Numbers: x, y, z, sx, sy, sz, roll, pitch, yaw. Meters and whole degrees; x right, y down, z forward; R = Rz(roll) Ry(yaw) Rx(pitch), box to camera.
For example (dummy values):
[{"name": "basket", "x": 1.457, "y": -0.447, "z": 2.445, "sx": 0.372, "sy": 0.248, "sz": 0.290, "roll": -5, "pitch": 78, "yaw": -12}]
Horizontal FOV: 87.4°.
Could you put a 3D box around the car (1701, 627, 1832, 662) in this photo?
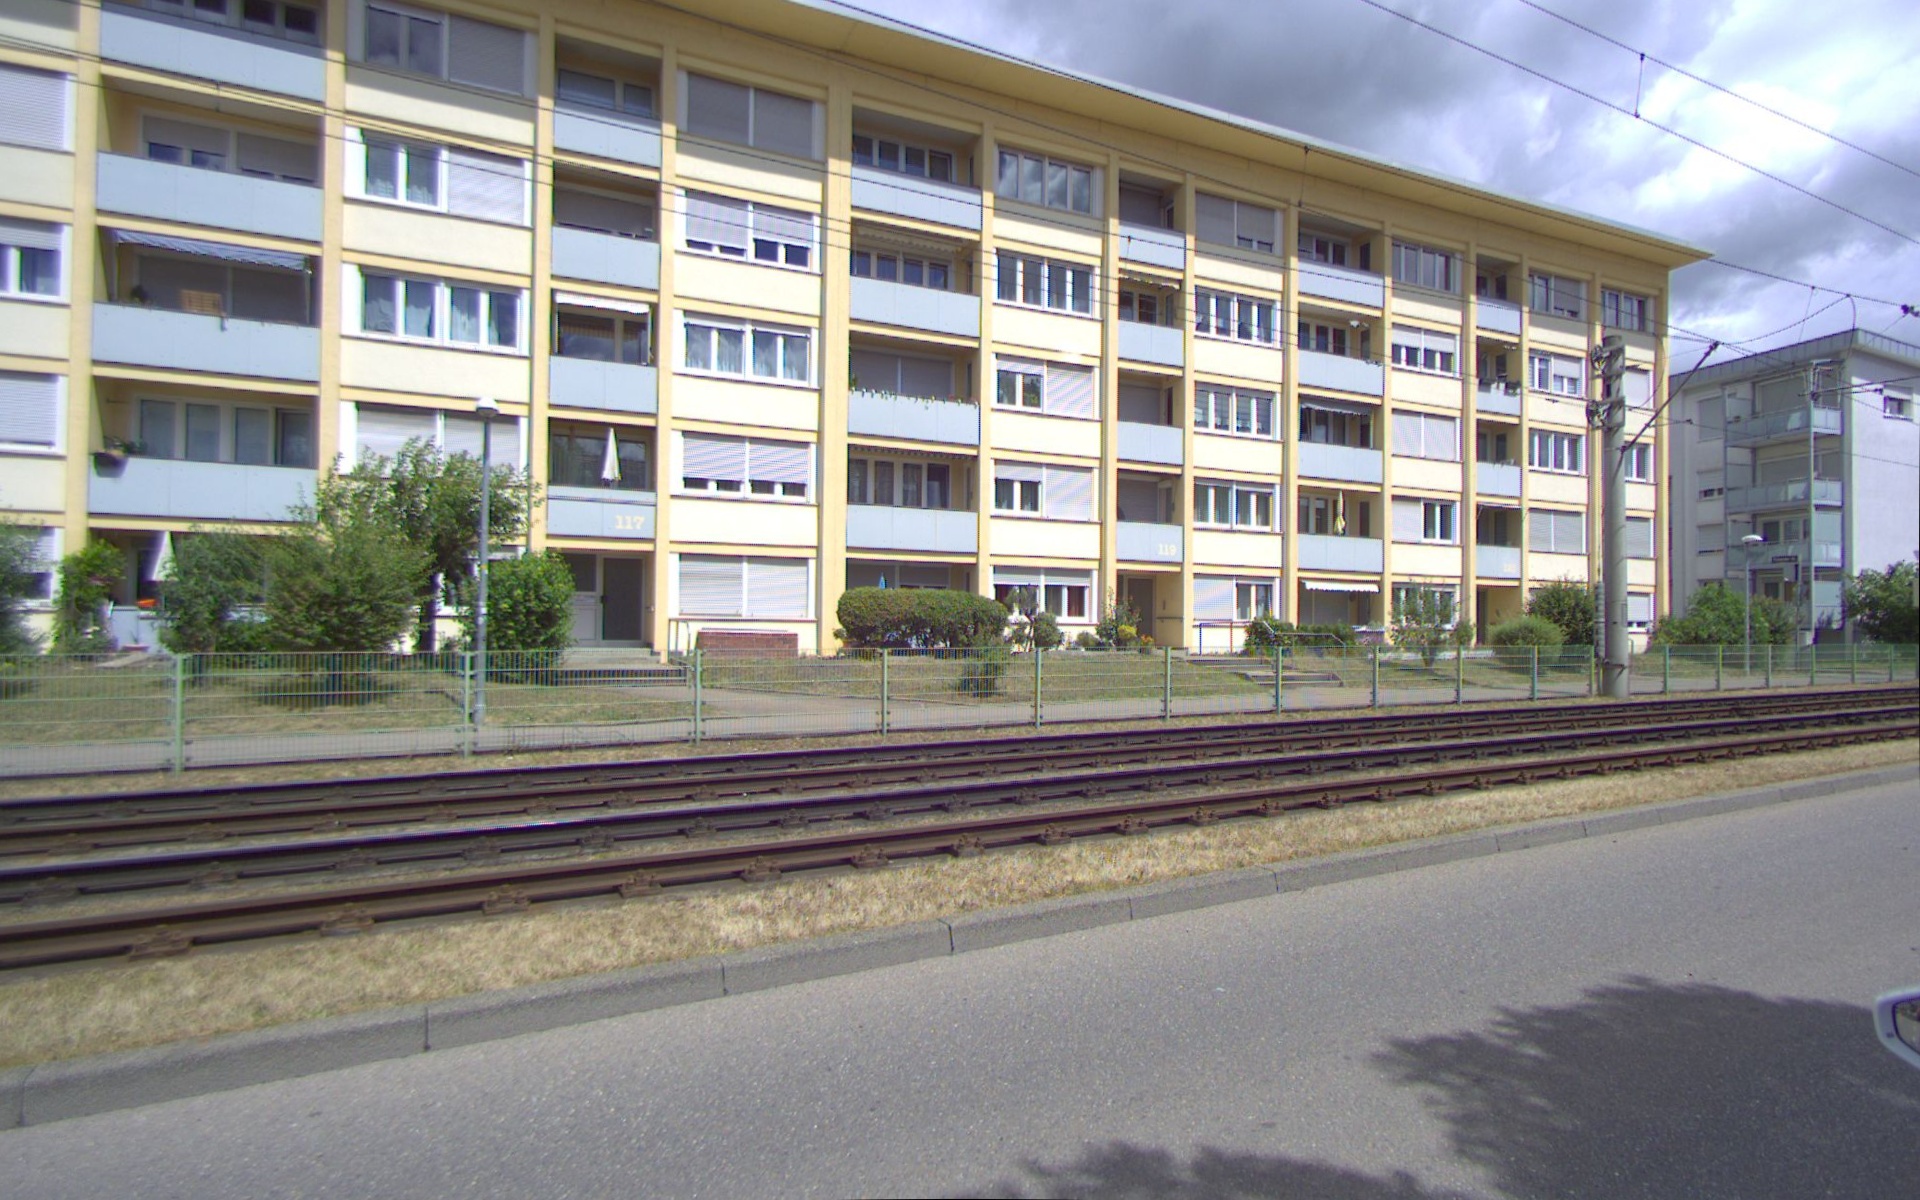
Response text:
[{"name": "car", "x": 34.320, "y": 1.874, "z": 42.886, "sx": 1.873, "sy": 1.363, "sz": 3.981, "roll": 1, "pitch": -1, "yaw": -21}]
